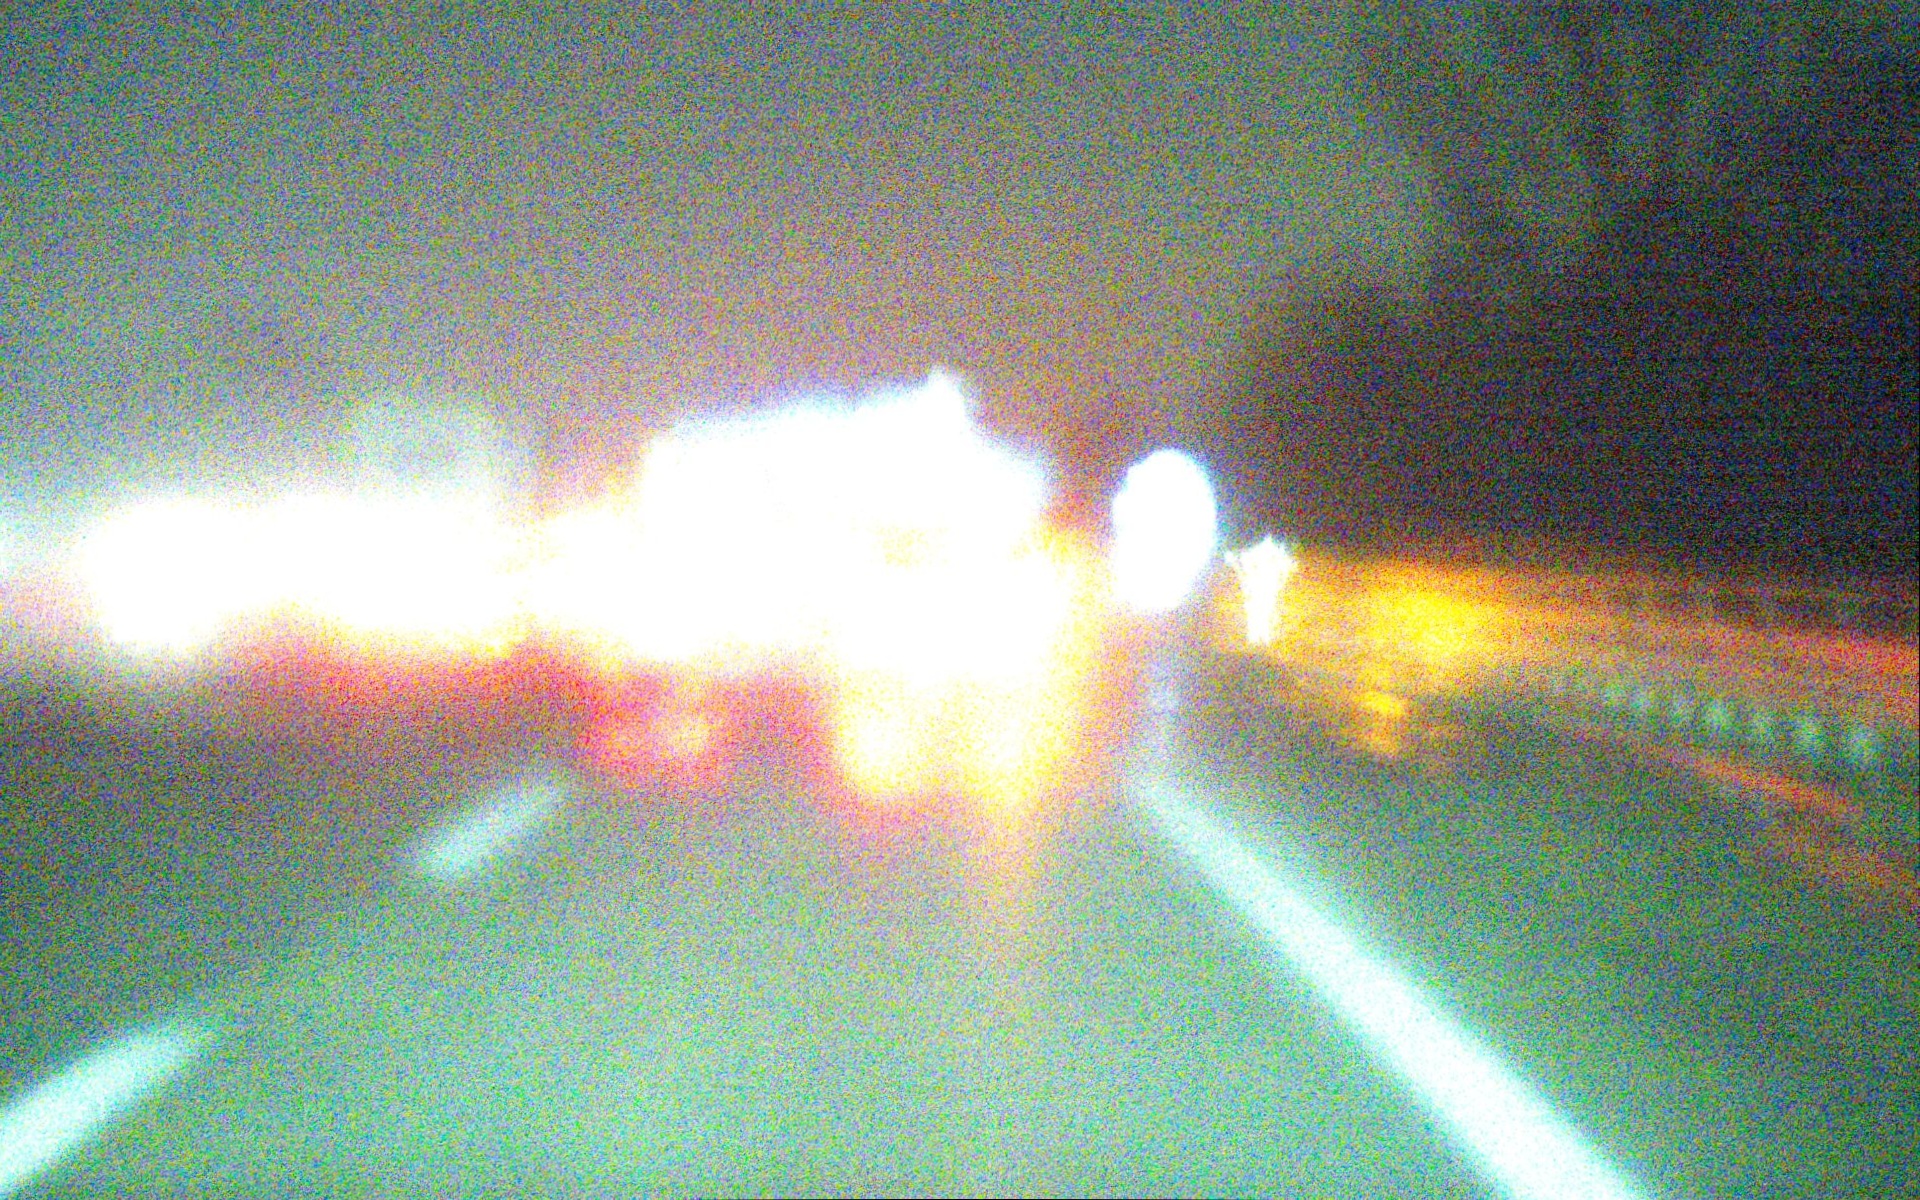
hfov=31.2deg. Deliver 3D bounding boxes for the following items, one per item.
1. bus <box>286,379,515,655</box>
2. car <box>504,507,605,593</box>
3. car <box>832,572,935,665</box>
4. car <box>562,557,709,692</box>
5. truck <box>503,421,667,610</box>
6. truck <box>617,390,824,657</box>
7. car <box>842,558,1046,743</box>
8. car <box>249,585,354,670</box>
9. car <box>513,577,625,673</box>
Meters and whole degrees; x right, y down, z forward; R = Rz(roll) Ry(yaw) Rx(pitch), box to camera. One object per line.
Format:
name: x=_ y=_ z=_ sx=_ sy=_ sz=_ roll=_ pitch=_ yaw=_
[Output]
bus: x=-9.906 y=-1.402 z=61.989 sx=3.096 sy=4.492 sz=10.915 roll=1 pitch=0 yaw=-4
car: x=-8.835 y=-1.080 z=75.193 sx=1.993 sy=1.801 sz=4.001 roll=1 pitch=0 yaw=-4
car: x=-1.761 y=0.381 z=77.876 sx=2.125 sy=2.007 sz=4.646 roll=1 pitch=0 yaw=-3
car: x=-5.091 y=0.354 z=54.464 sx=2.125 sy=2.007 sz=4.646 roll=1 pitch=0 yaw=-3
truck: x=-11.815 y=-2.587 z=109.474 sx=4.210 sy=5.629 sz=11.468 roll=1 pitch=0 yaw=-2
truck: x=-5.339 y=-1.666 z=79.089 sx=4.210 sy=5.629 sz=11.468 roll=1 pitch=0 yaw=-2
car: x=-0.197 y=0.486 z=36.112 sx=1.993 sy=1.801 sz=4.000 roll=1 pitch=0 yaw=-1
car: x=-13.354 y=0.542 z=69.862 sx=1.694 sy=1.645 sz=3.841 roll=1 pitch=0 yaw=-5
car: x=-7.659 y=0.470 z=67.704 sx=1.993 sy=1.801 sz=4.001 roll=1 pitch=0 yaw=-4
